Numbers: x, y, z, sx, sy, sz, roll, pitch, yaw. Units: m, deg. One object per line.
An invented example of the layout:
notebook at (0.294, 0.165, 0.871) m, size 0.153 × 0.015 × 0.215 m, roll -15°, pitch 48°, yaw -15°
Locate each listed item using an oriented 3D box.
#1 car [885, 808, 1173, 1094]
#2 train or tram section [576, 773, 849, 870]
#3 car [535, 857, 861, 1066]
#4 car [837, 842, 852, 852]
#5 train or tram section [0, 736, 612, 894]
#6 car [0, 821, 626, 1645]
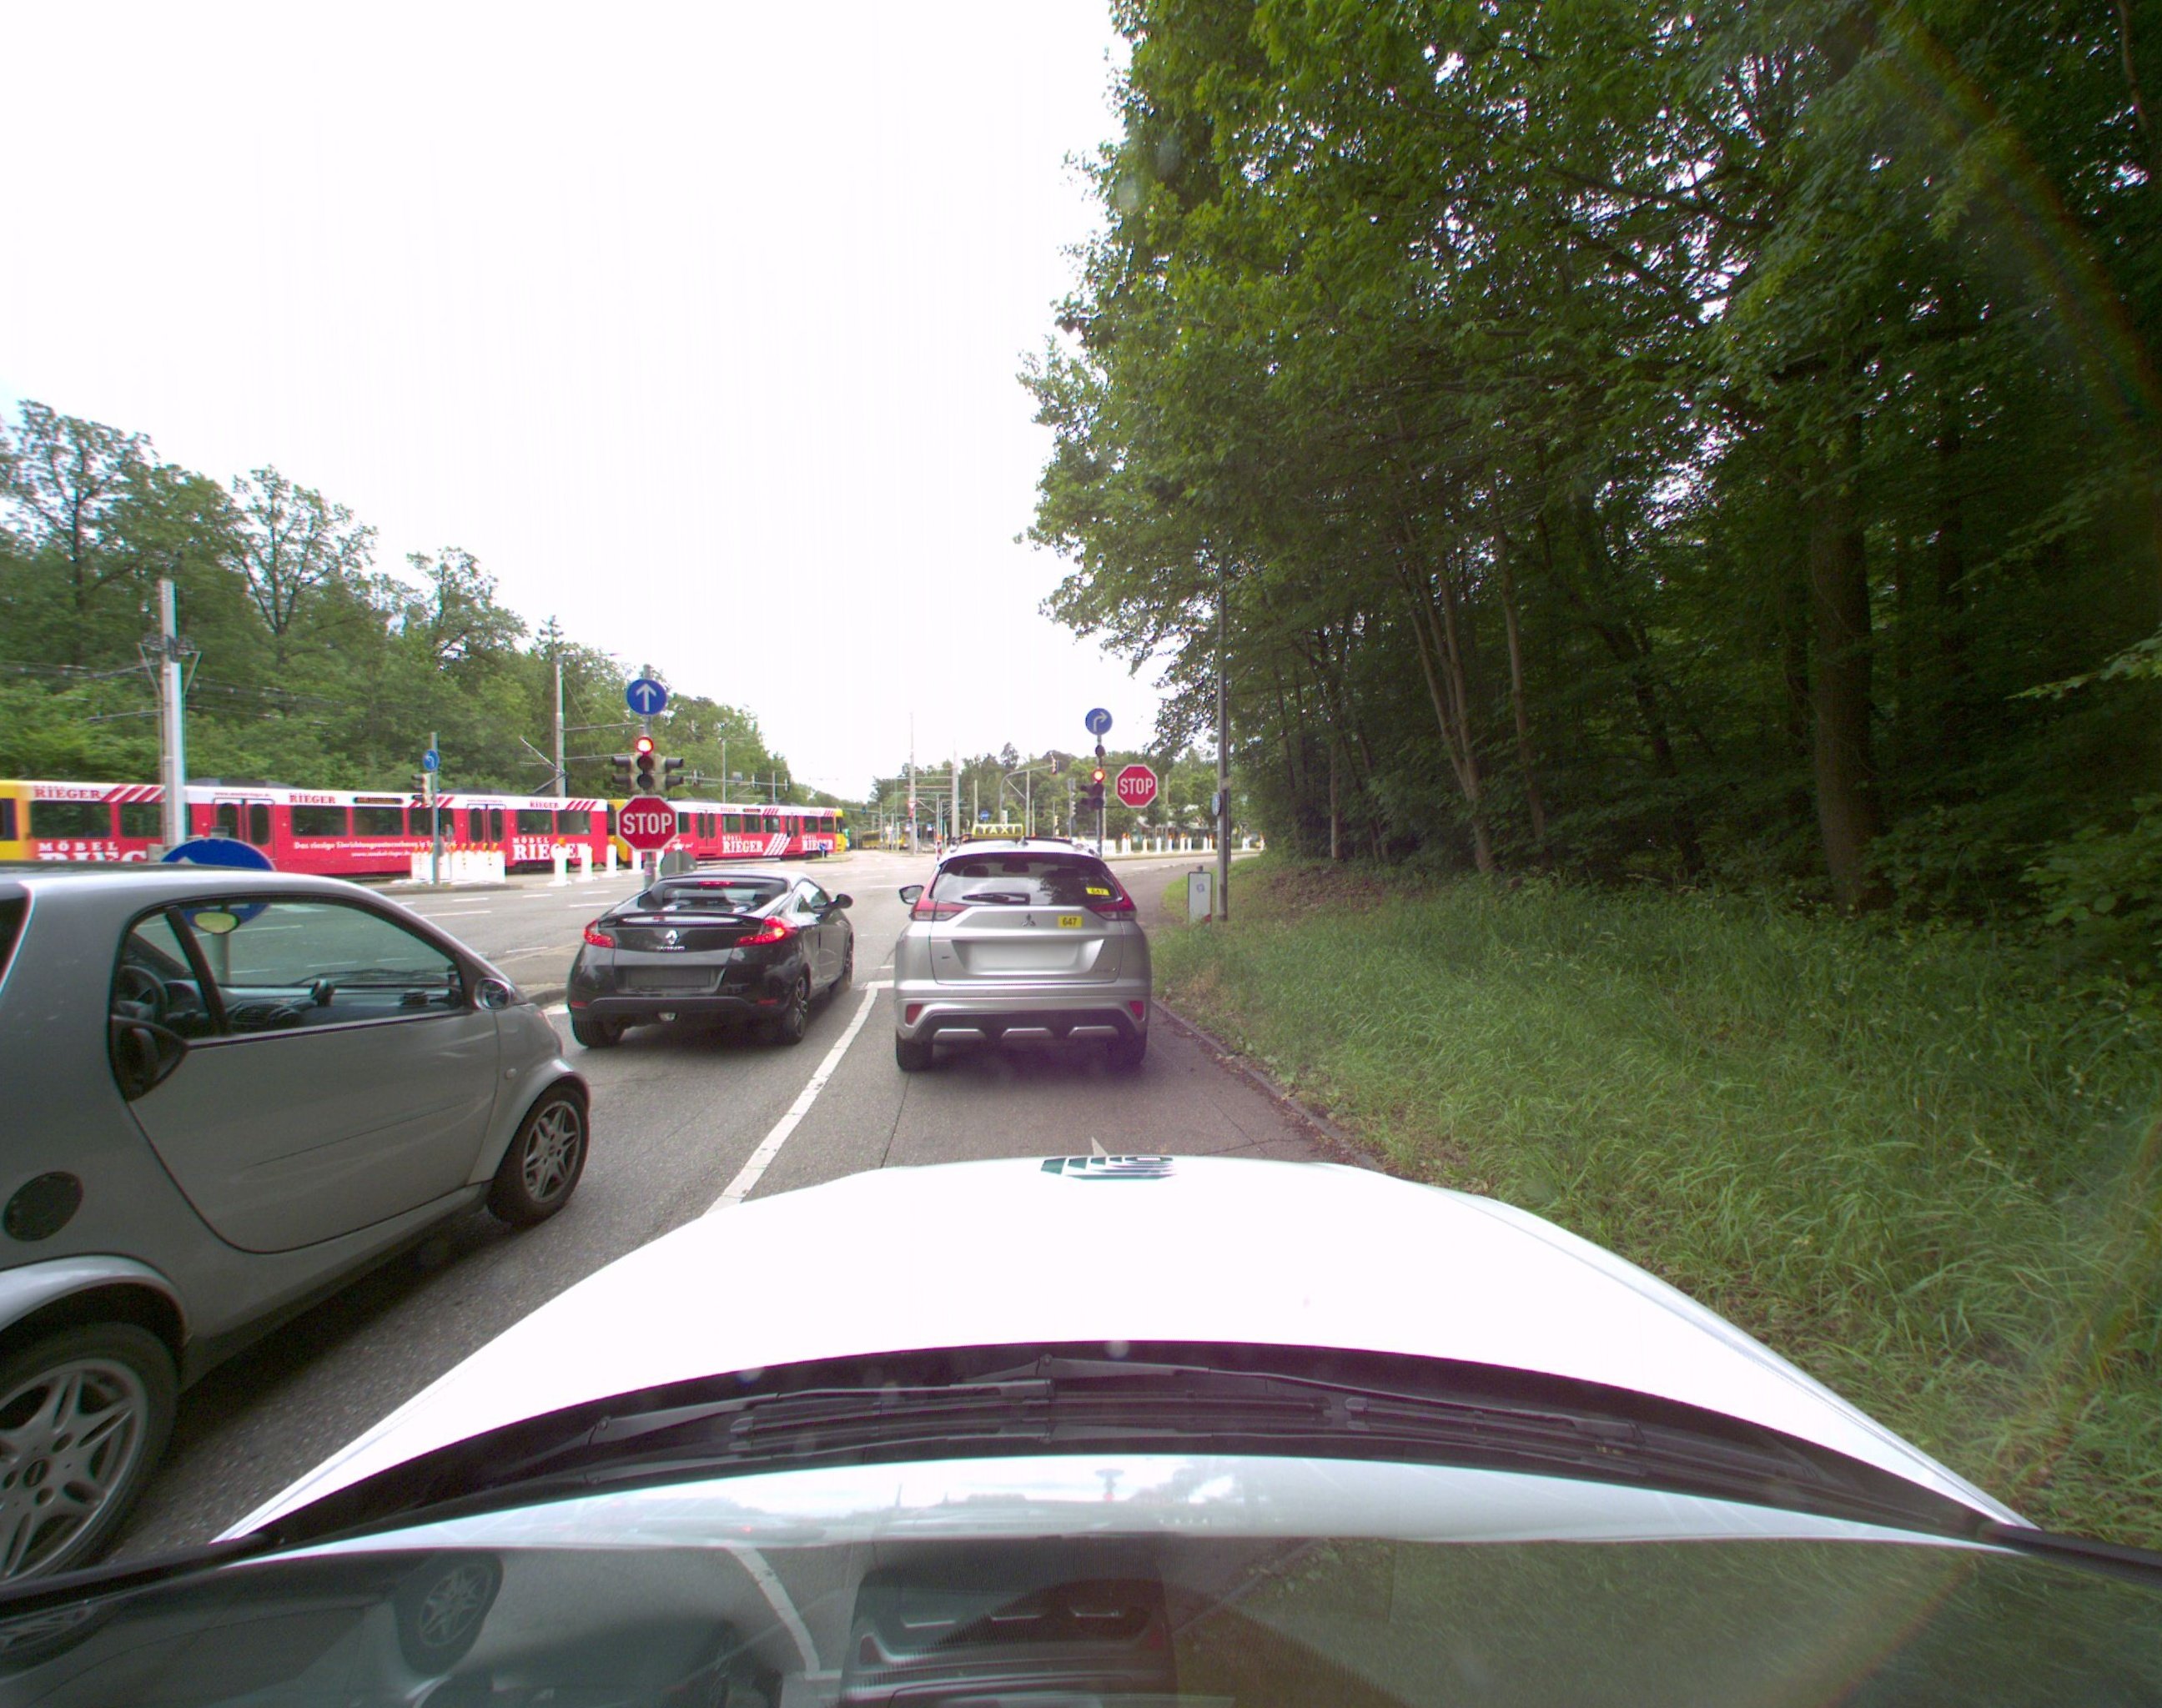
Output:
car at (-0.515, 0.583, 6.966) m, size 1.772 × 1.748 × 3.772 m, roll 1°, pitch 1°, yaw -7°
train or tram section at (-20.448, -1.508, 48.339) m, size 2.923 × 4.650 × 18.631 m, roll -1°, pitch -1°, yaw 18°
car at (-3.183, 0.758, 7.565) m, size 1.773 × 1.361 × 3.466 m, roll -1°, pitch 1°, yaw -9°
car at (-35.177, -1.056, 121.288) m, size 1.964 × 1.540 × 4.291 m, roll -1°, pitch 1°, yaw -13°
train or tram section at (-27.680, -1.044, 30.645) m, size 2.928 × 4.418 × 18.841 m, roll -1°, pitch -1°, yaw 27°
car at (-2.903, 0.730, 2.609) m, size 1.455 × 1.586 × 2.724 m, roll -1°, pitch 1°, yaw -4°
